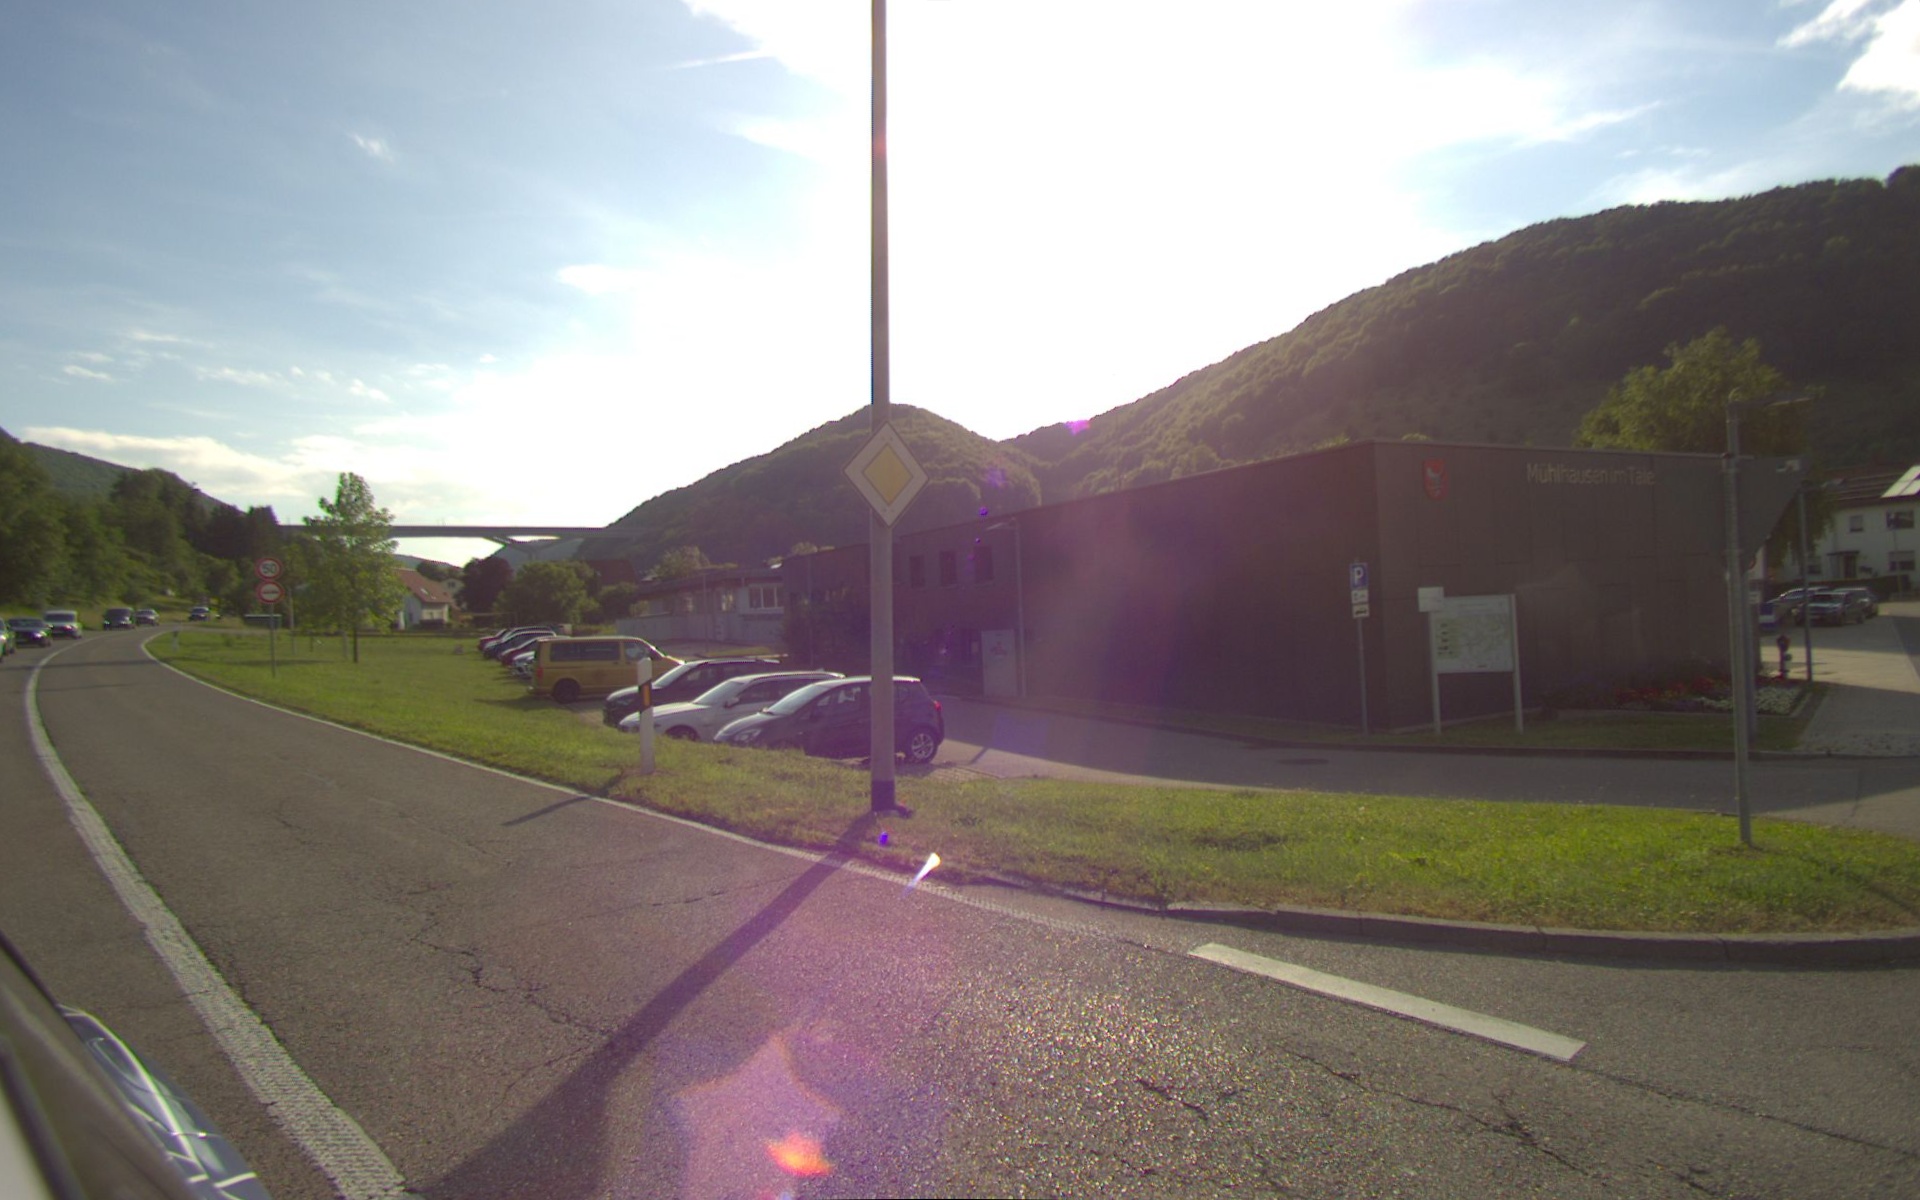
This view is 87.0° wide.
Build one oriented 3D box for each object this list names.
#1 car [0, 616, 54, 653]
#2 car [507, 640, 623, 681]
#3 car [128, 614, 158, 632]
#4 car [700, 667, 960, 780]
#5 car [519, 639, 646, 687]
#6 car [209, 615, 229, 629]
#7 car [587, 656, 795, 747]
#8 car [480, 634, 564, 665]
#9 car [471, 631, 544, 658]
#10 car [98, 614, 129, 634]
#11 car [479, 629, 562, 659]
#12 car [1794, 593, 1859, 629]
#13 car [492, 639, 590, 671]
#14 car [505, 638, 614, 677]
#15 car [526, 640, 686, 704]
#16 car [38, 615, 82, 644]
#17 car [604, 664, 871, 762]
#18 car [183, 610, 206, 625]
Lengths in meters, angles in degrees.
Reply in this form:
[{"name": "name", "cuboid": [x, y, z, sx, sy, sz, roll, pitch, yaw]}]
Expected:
[{"name": "car", "cuboid": [-44.531, 1.644, 48.031, 1.882, 1.698, 4.009, 0, -2, -36]}, {"name": "car", "cuboid": [-16.632, 2.513, 42.633, 4.370, 1.599, 2.006, 0, -2, -26]}, {"name": "car", "cuboid": [-83.440, 2.383, 103.412, 1.966, 1.730, 4.011, 0, -1, -33]}, {"name": "car", "cuboid": [-2.172, 1.974, 16.961, 3.931, 1.546, 1.839, 0, -2, -27]}, {"name": "car", "cuboid": [-14.787, 2.416, 39.643, 4.476, 1.714, 2.006, 0, -2, -26]}, {"name": "car", "cuboid": [-104.718, 3.139, 143.125, 1.880, 1.918, 4.012, 0, 0, -31]}, {"name": "car", "cuboid": [-6.148, 2.246, 23.262, 4.224, 1.650, 1.918, -2, -1, -32]}, {"name": "car", "cuboid": [-25.515, 2.852, 58.949, 4.370, 1.595, 2.006, -1, -1, -28]}, {"name": "car", "cuboid": [-30.336, 2.974, 67.868, 4.370, 1.733, 2.006, 0, -2, -28]}, {"name": "car", "cuboid": [-73.617, 2.108, 88.002, 1.652, 1.659, 3.355, -1, -1, -33]}, {"name": "car", "cuboid": [-27.498, 2.734, 63.350, 4.594, 1.776, 2.006, 0, -2, -28]}, {"name": "car", "cuboid": [39.712, 0.503, 46.470, 1.997, 1.525, 3.949, -2, -1, 37]}, {"name": "car", "cuboid": [-20.697, 2.686, 50.013, 4.370, 1.463, 2.006, 0, -2, -26]}, {"name": "car", "cuboid": [-18.075, 2.564, 45.695, 4.370, 1.595, 2.006, 0, -2, -28]}, {"name": "car", "cuboid": [-11.213, 2.225, 32.085, 4.582, 1.827, 2.006, 0, -2, -26]}, {"name": "car", "cuboid": [-55.961, 1.848, 62.986, 1.771, 1.749, 4.292, 0, -1, -38]}, {"name": "car", "cuboid": [-4.180, 2.044, 19.234, 4.575, 1.508, 1.918, 1, -2, -31]}, {"name": "car", "cuboid": [-99.005, 2.279, 130.942, 1.880, 1.918, 4.012, 0, 0, -31]}]
